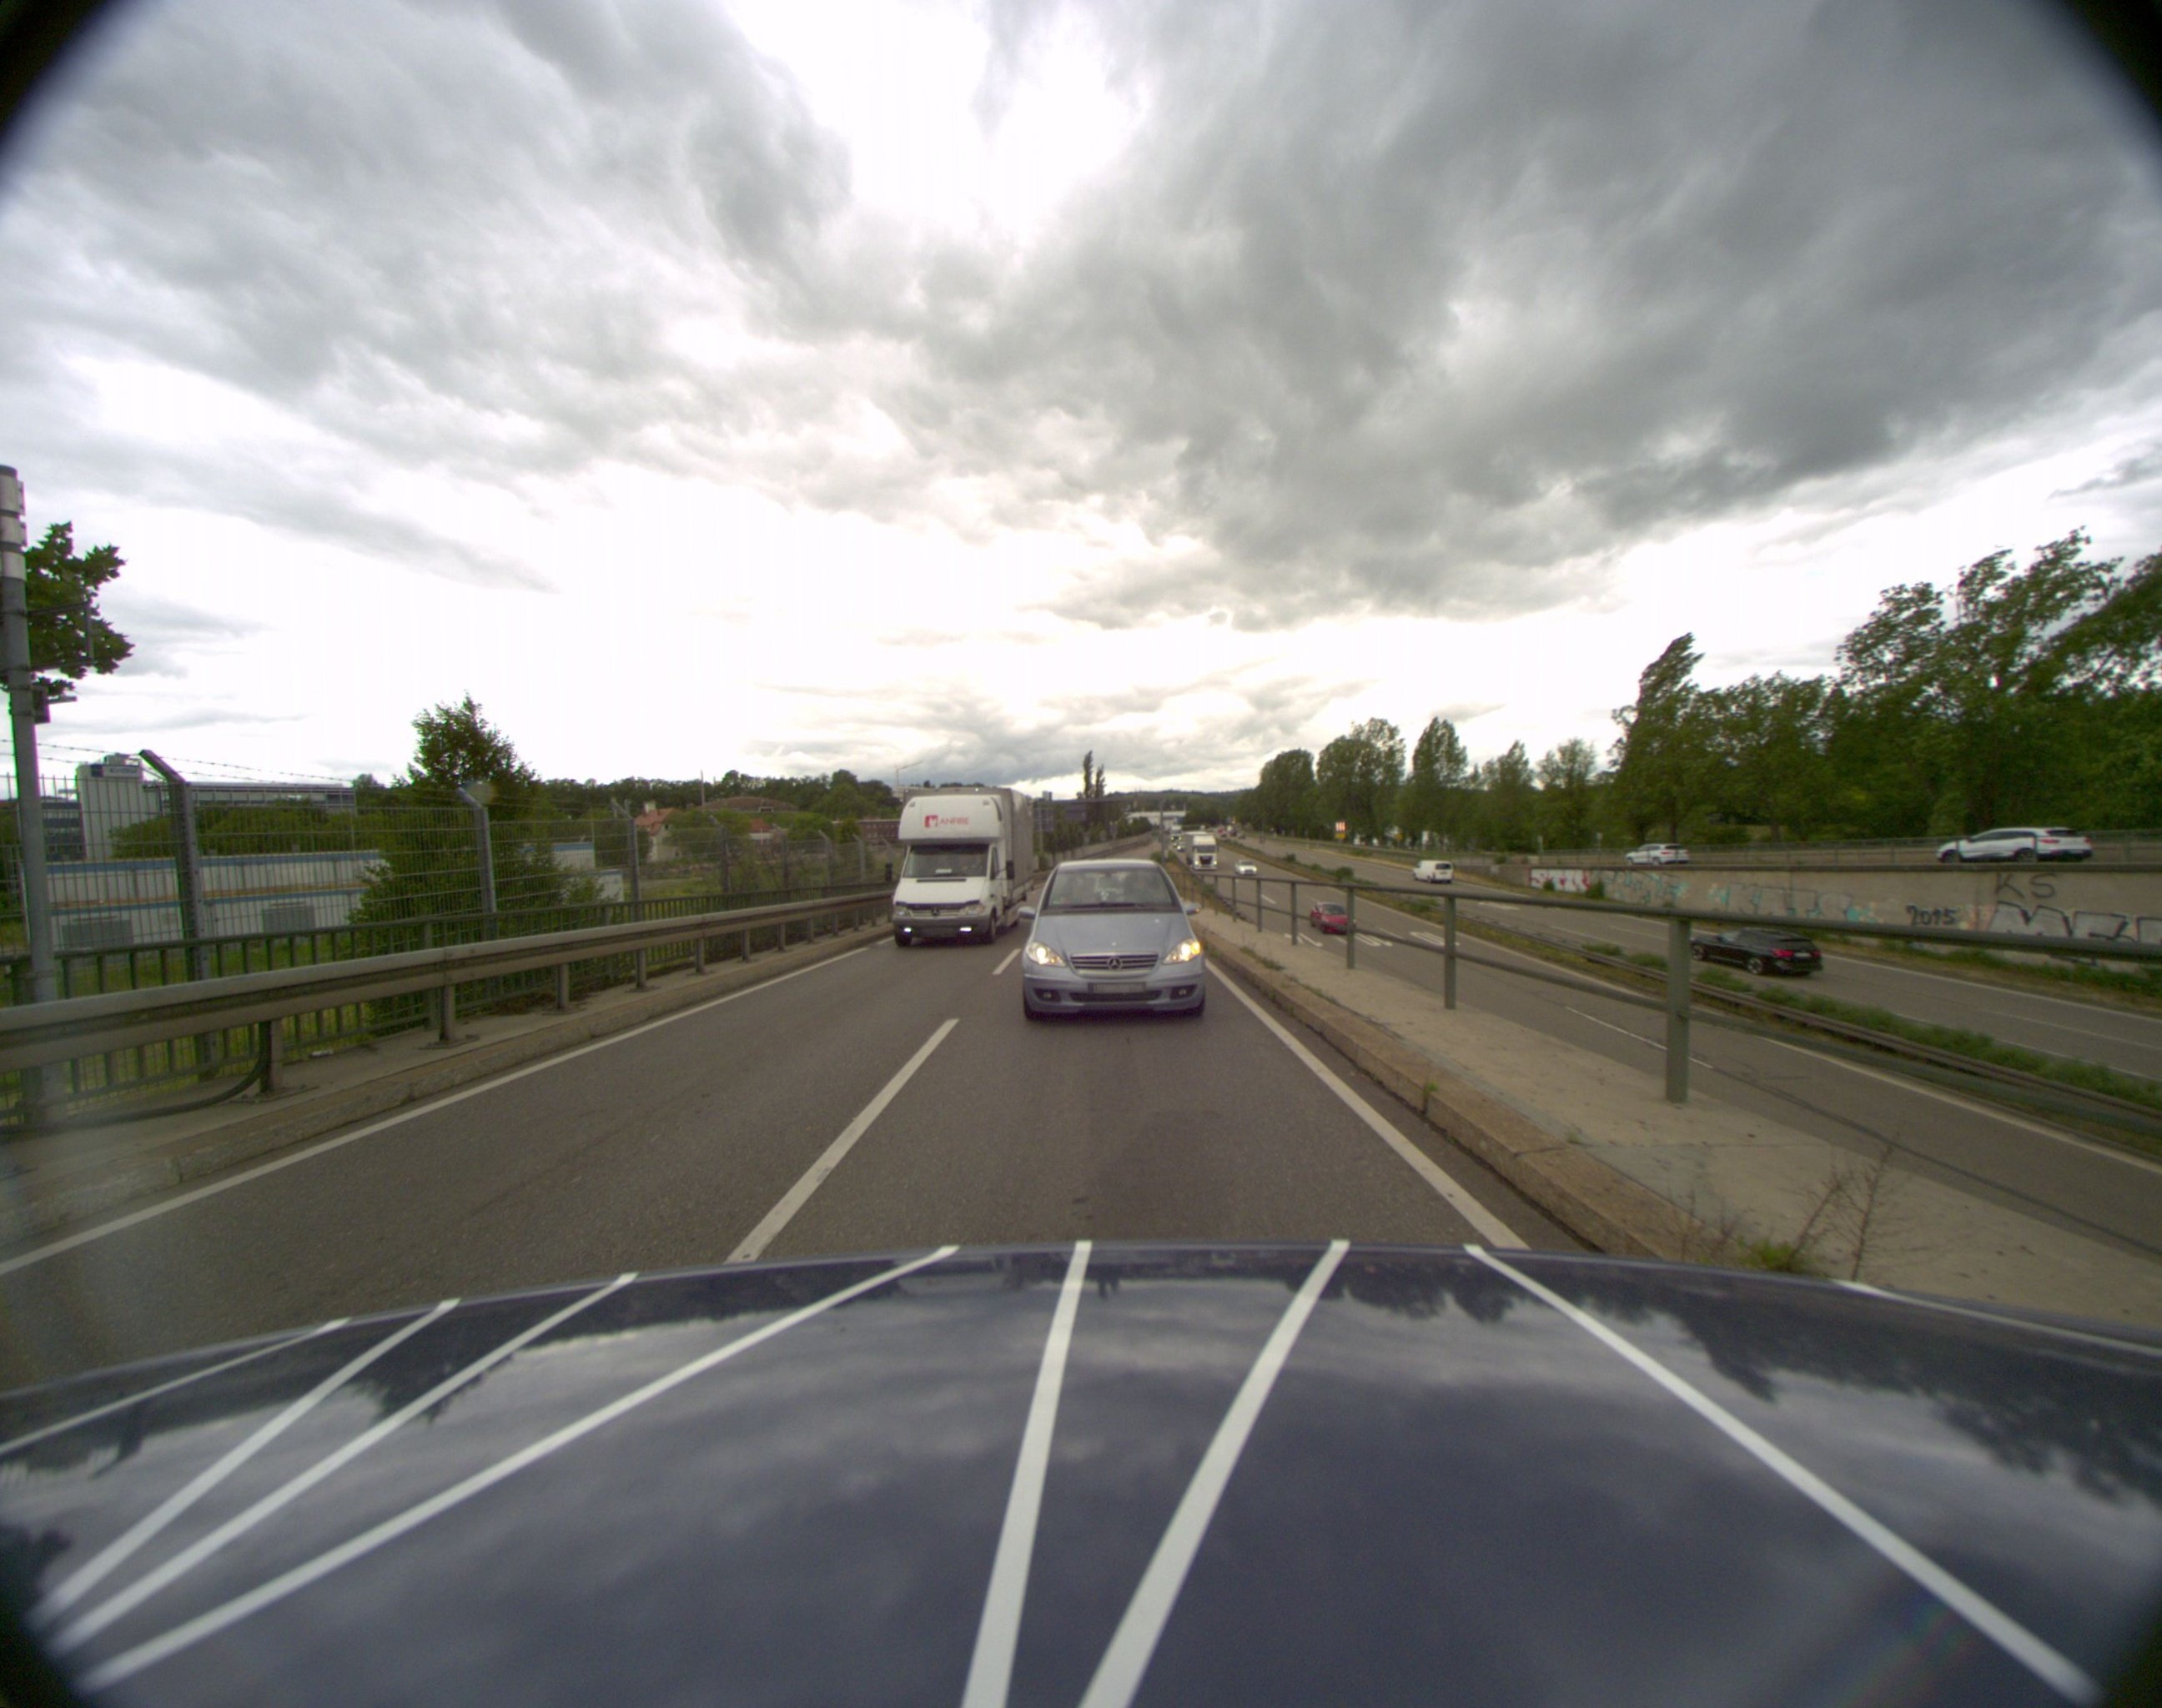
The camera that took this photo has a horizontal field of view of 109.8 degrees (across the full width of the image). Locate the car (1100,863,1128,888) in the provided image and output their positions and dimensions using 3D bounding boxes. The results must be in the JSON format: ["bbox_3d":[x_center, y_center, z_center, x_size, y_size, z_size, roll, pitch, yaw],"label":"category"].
[{"bbox_3d":[2.357,1.476,53.721,1.780,1.578,4.001,-1,0,4],"label":"car"}]

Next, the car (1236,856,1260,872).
[{"bbox_3d":[17.762,1.060,81.035,1.919,1.411,4.275,-1,4,4],"label":"car"}]

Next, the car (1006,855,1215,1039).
[{"bbox_3d":[0.344,0.821,8.641,1.780,1.578,4.001,-1,0,3],"label":"car"}]

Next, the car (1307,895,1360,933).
[{"bbox_3d":[13.766,3.258,41.592,1.756,1.433,4.163,-1,4,4],"label":"car"}]

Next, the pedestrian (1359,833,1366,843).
[{"bbox_3d":[52.298,-3.013,141.274,0.831,1.696,1.077,-2,4,3],"label":"pedestrian"}]

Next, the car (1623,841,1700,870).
[{"bbox_3d":[39.446,0.095,51.782,1.998,1.859,4.213,-1,0,1],"label":"car"}]

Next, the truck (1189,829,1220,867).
[{"bbox_3d":[14.353,-0.790,88.962,2.758,4.228,6.695,0,3,2],"label":"truck"}]

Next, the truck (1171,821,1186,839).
[{"bbox_3d":[25.381,-6.357,197.981,3.179,4.501,11.121,-1,3,4],"label":"truck"}]

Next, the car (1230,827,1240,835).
[{"bbox_3d":[51.417,-7.628,254.072,2.249,2.533,6.112,-1,3,2],"label":"car"}]

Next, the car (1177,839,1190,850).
[{"bbox_3d":[17.841,-1.655,132.645,1.858,1.598,4.164,-1,3,2],"label":"car"}]

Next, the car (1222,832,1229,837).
[{"bbox_3d":[45.847,-6.341,241.369,1.668,1.493,3.857,0,3,3],"label":"car"}]

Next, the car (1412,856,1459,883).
[{"bbox_3d":[32.263,1.388,69.261,1.998,2.056,5.175,-1,3,2],"label":"car"}]

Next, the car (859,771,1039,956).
[{"bbox_3d":[-2.600,0.145,17.436,2.665,3.310,7.090,-2,1,1],"label":"car"}]

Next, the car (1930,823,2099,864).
[{"bbox_3d":[38.797,-0.414,31.769,1.837,1.567,4.347,-1,0,3],"label":"car"}]

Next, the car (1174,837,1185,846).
[{"bbox_3d":[19.845,-2.448,152.960,1.858,1.598,4.164,2,3,2],"label":"car"}]

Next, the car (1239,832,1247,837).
[{"bbox_3d":[46.726,-5.617,219.111,1.715,1.368,4.109,0,3,2],"label":"car"}]

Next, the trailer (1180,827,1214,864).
[{"bbox_3d":[14.668,-1.227,96.943,2.758,4.228,13.146,0,3,2],"label":"trailer"}]

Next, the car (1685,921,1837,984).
[{"bbox_3d":[26.904,3.846,30.324,1.920,1.729,4.550,0,3,0],"label":"car"}]
